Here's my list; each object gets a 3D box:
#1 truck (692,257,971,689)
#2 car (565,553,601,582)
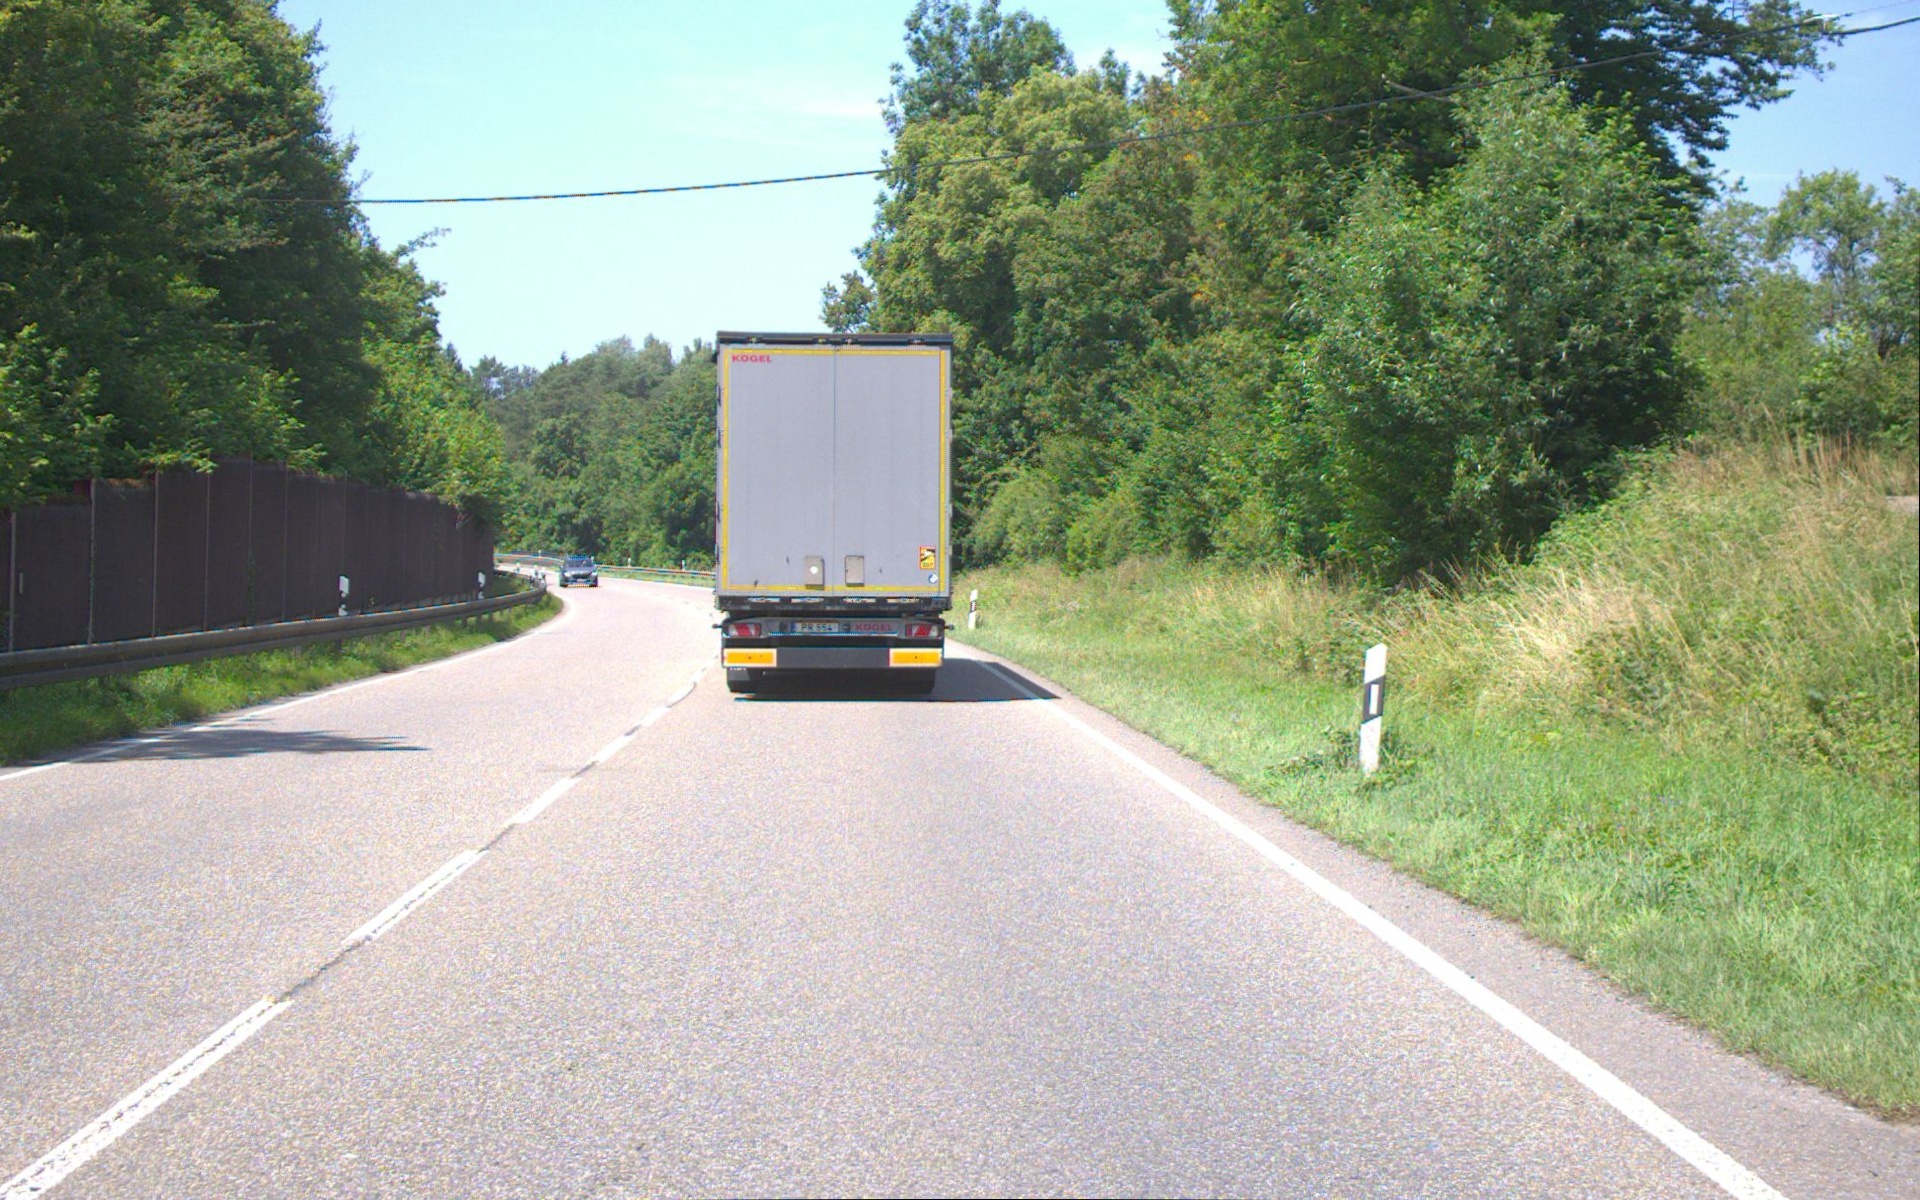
[{"bbox_3d":[-1.360,-1.351,40.050,2.822,4.588,6.665,1,0,1],"label":"truck"},{"bbox_3d":[-19.759,-1.722,180.098,1.616,1.486,3.618,0,1,-10],"label":"car"}]
